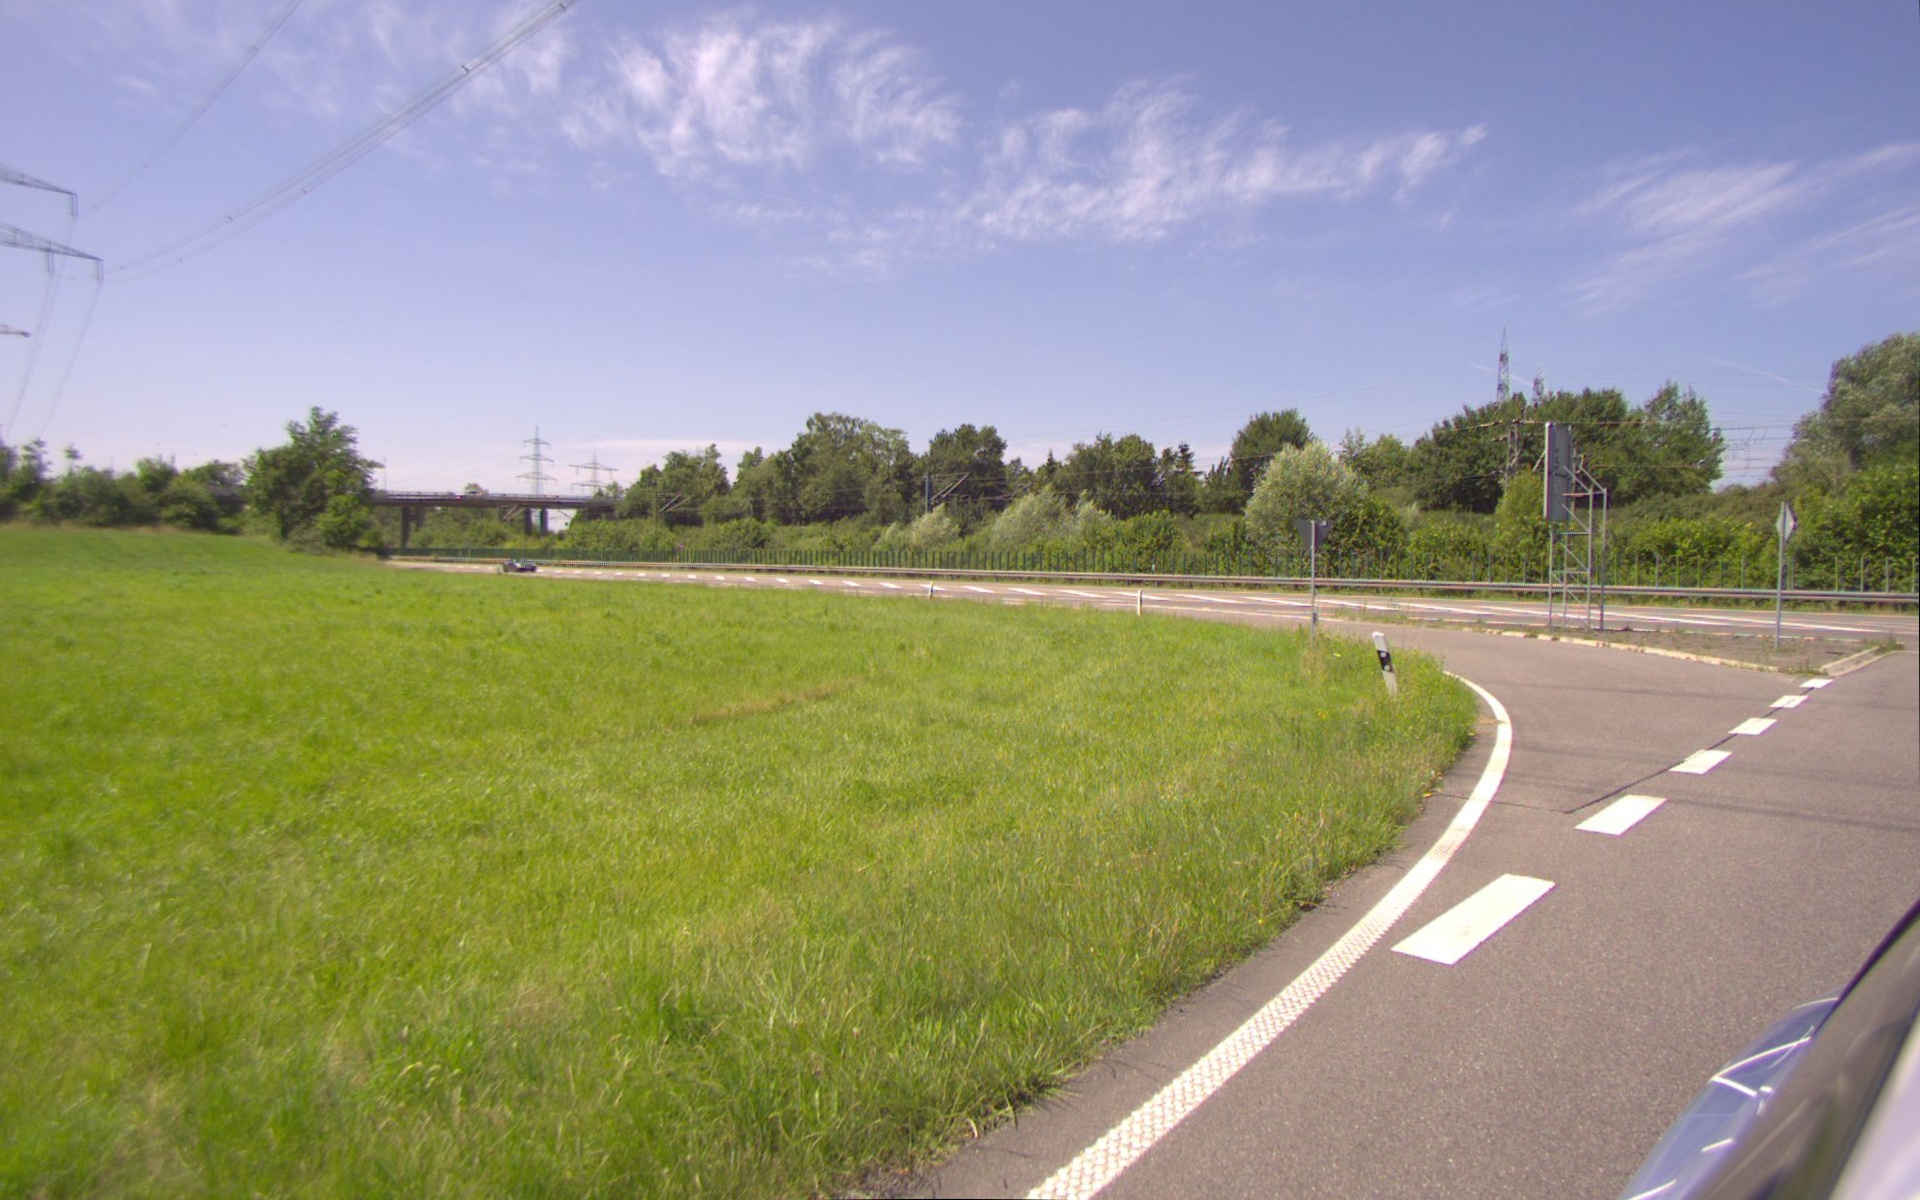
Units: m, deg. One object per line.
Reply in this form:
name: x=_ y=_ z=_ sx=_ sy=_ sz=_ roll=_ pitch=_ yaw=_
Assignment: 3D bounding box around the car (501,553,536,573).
car: x=-40.073 y=-3.402 z=91.839 sx=1.696 sy=1.745 sz=3.991 roll=-1 pitch=3 yaw=-44
